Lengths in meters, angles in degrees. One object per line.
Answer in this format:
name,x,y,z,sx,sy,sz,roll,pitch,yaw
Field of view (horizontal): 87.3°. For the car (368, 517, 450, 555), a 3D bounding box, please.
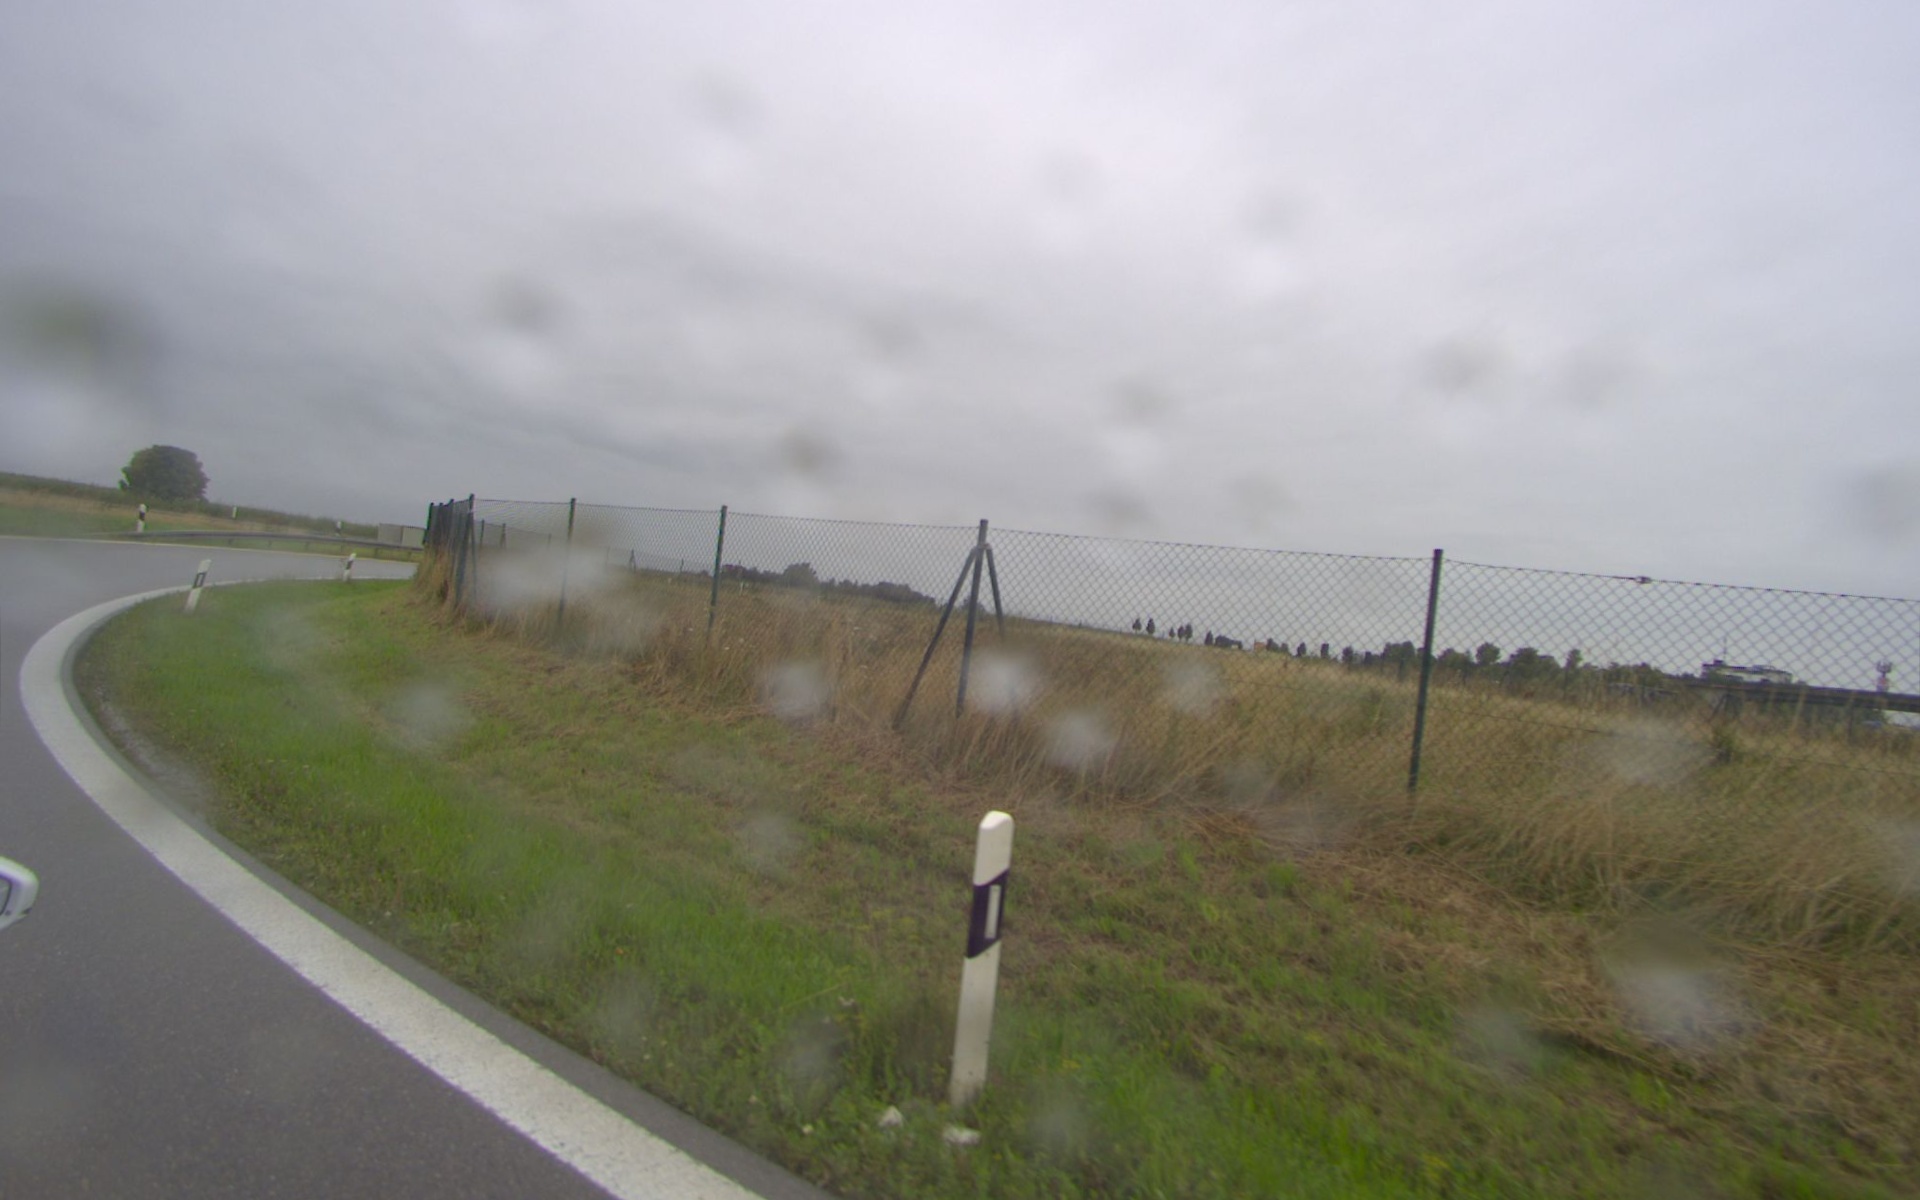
car,-34.455,-4.008,63.008,4.301,1.656,2.045,8,0,-29
